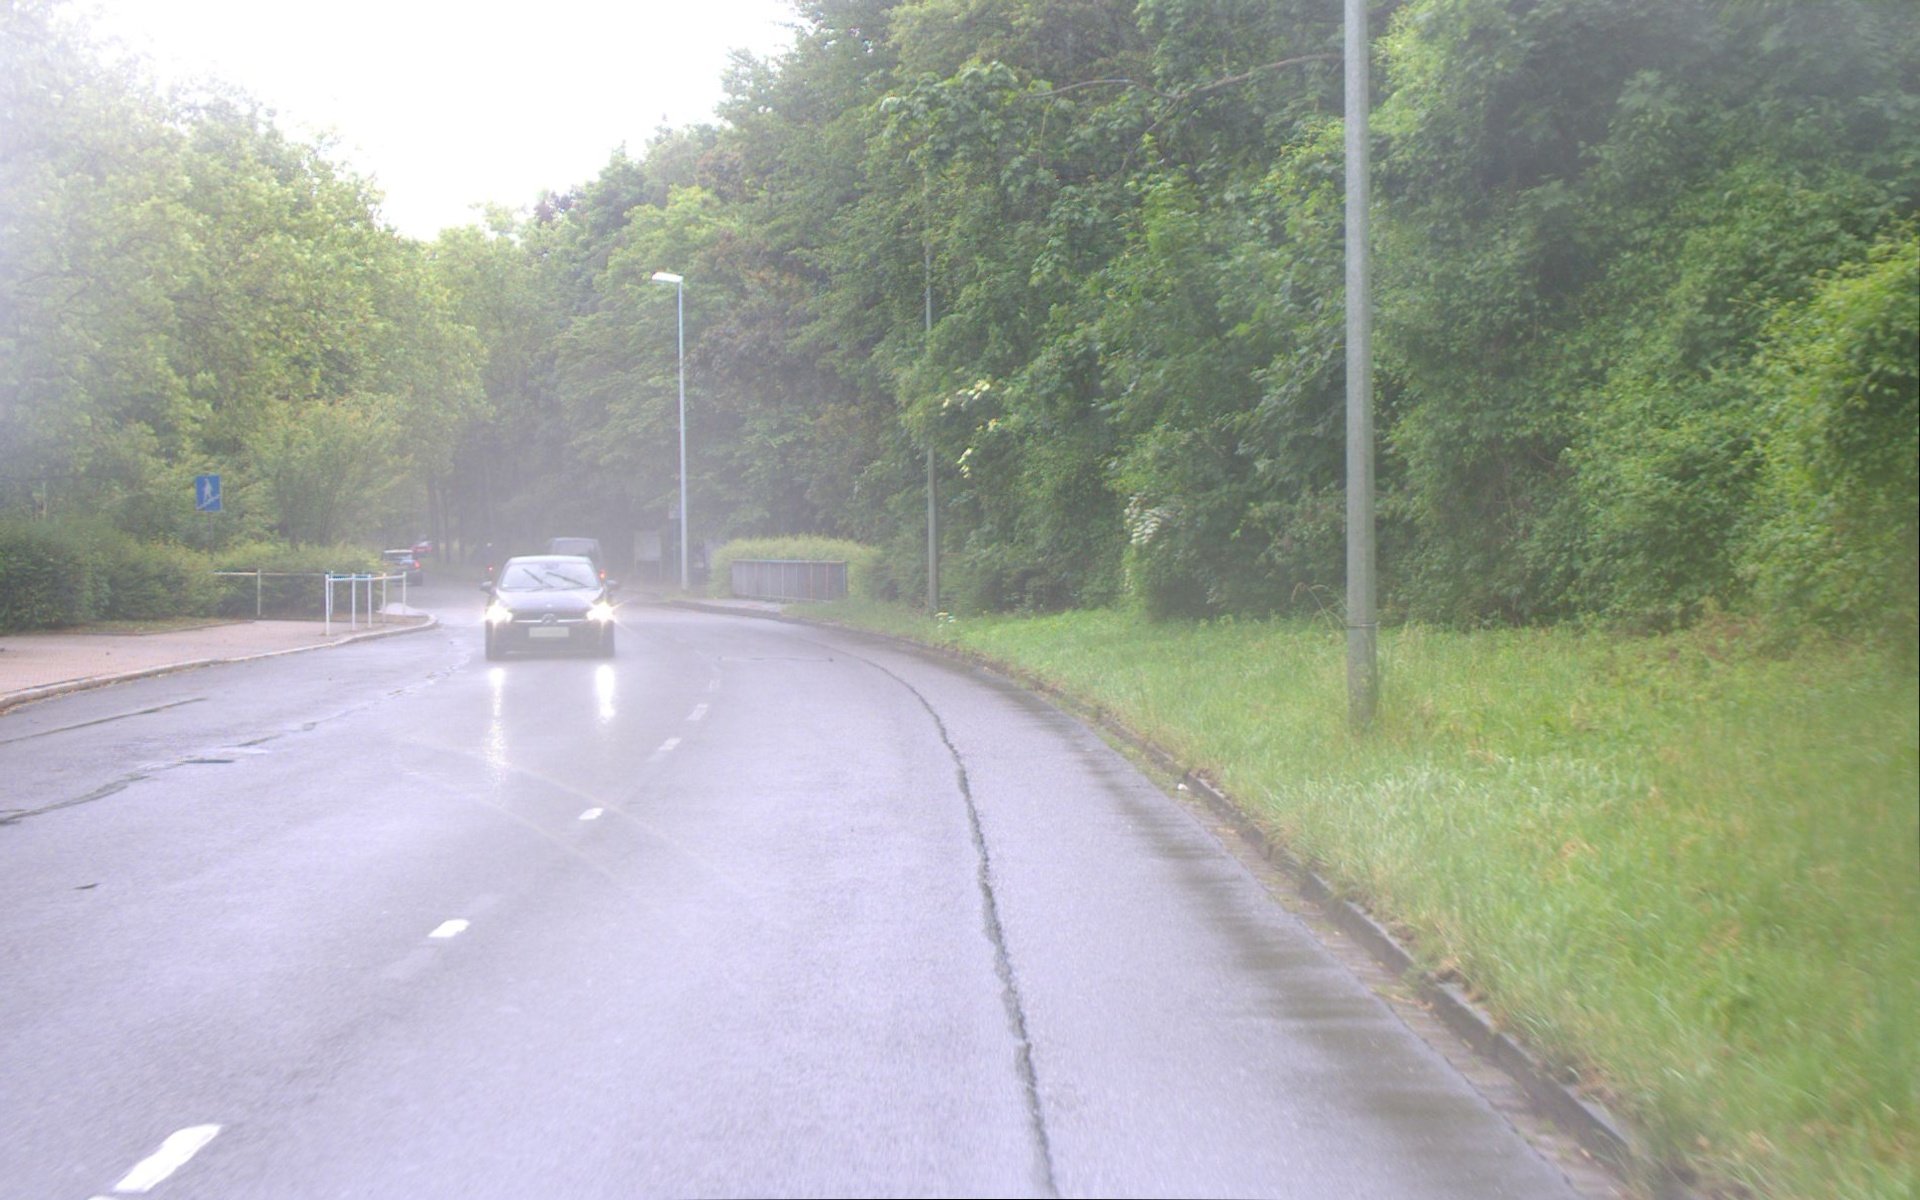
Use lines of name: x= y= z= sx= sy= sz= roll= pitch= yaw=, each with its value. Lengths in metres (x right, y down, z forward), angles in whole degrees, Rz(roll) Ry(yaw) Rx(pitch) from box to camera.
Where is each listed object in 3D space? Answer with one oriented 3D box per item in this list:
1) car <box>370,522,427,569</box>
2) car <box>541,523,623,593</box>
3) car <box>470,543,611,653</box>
car: x=-22.553 y=-2.175 z=137.966 sx=1.993 sy=1.809 sz=4.001 roll=1 pitch=0 yaw=-12
car: x=-10.551 y=-1.181 z=95.847 sx=1.985 sy=1.919 sz=4.001 roll=0 pitch=1 yaw=-10
car: x=-5.898 y=-0.055 z=48.693 sx=1.826 sy=1.460 sz=4.001 roll=-1 pitch=1 yaw=-5
